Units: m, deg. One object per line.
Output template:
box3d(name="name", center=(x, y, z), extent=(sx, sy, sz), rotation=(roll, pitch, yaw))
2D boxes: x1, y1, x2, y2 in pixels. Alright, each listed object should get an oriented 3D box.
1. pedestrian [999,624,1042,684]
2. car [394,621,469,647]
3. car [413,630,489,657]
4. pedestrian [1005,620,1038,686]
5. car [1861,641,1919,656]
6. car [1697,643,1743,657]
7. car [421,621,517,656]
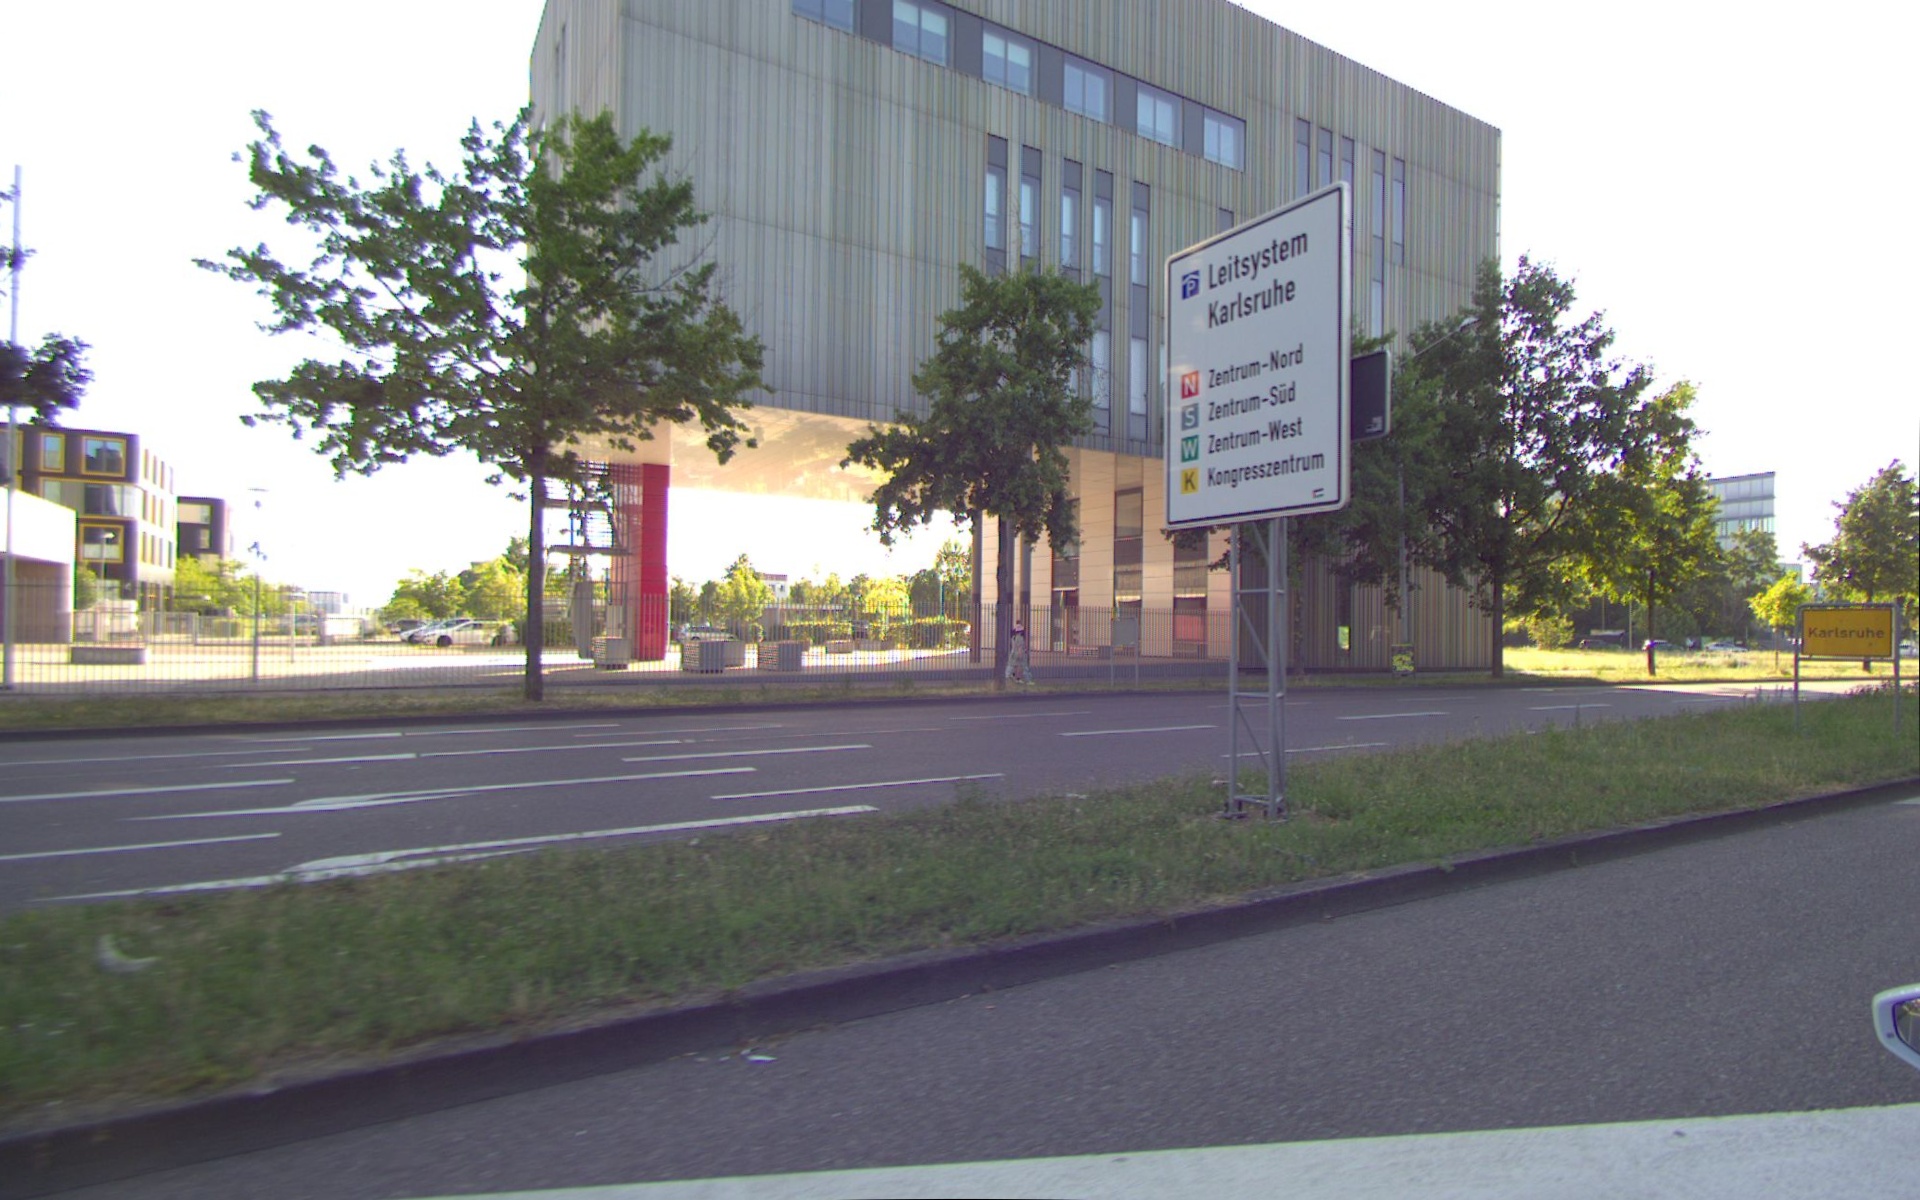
box3d(name="pedestrian", center=(1.687, 1.486, 27.954), extent=(0.898, 1.622, 0.772), rotation=(1, -1, -30))
box3d(name="car", center=(-38.734, 2.522, 73.605), extent=(4.733, 1.843, 1.895), rotation=(2, -1, -32))
box3d(name="car", center=(-34.267, 2.926, 67.640), extent=(4.458, 1.773, 1.895), rotation=(2, -1, -32))
box3d(name="pedestrian", center=(1.758, 1.511, 28.890), extent=(0.708, 1.865, 0.630), rotation=(1, -1, -30))
box3d(name="car", center=(99.779, 5.157, 107.764), extent=(4.222, 1.528, 1.876), rotation=(0, -1, 17))
box3d(name="car", center=(84.923, 5.553, 112.255), extent=(3.634, 1.528, 1.876), rotation=(0, -1, 17))
box3d(name="car", center=(-27.889, 2.196, 57.139), extent=(4.733, 1.899, 1.895), rotation=(2, -1, -32))
